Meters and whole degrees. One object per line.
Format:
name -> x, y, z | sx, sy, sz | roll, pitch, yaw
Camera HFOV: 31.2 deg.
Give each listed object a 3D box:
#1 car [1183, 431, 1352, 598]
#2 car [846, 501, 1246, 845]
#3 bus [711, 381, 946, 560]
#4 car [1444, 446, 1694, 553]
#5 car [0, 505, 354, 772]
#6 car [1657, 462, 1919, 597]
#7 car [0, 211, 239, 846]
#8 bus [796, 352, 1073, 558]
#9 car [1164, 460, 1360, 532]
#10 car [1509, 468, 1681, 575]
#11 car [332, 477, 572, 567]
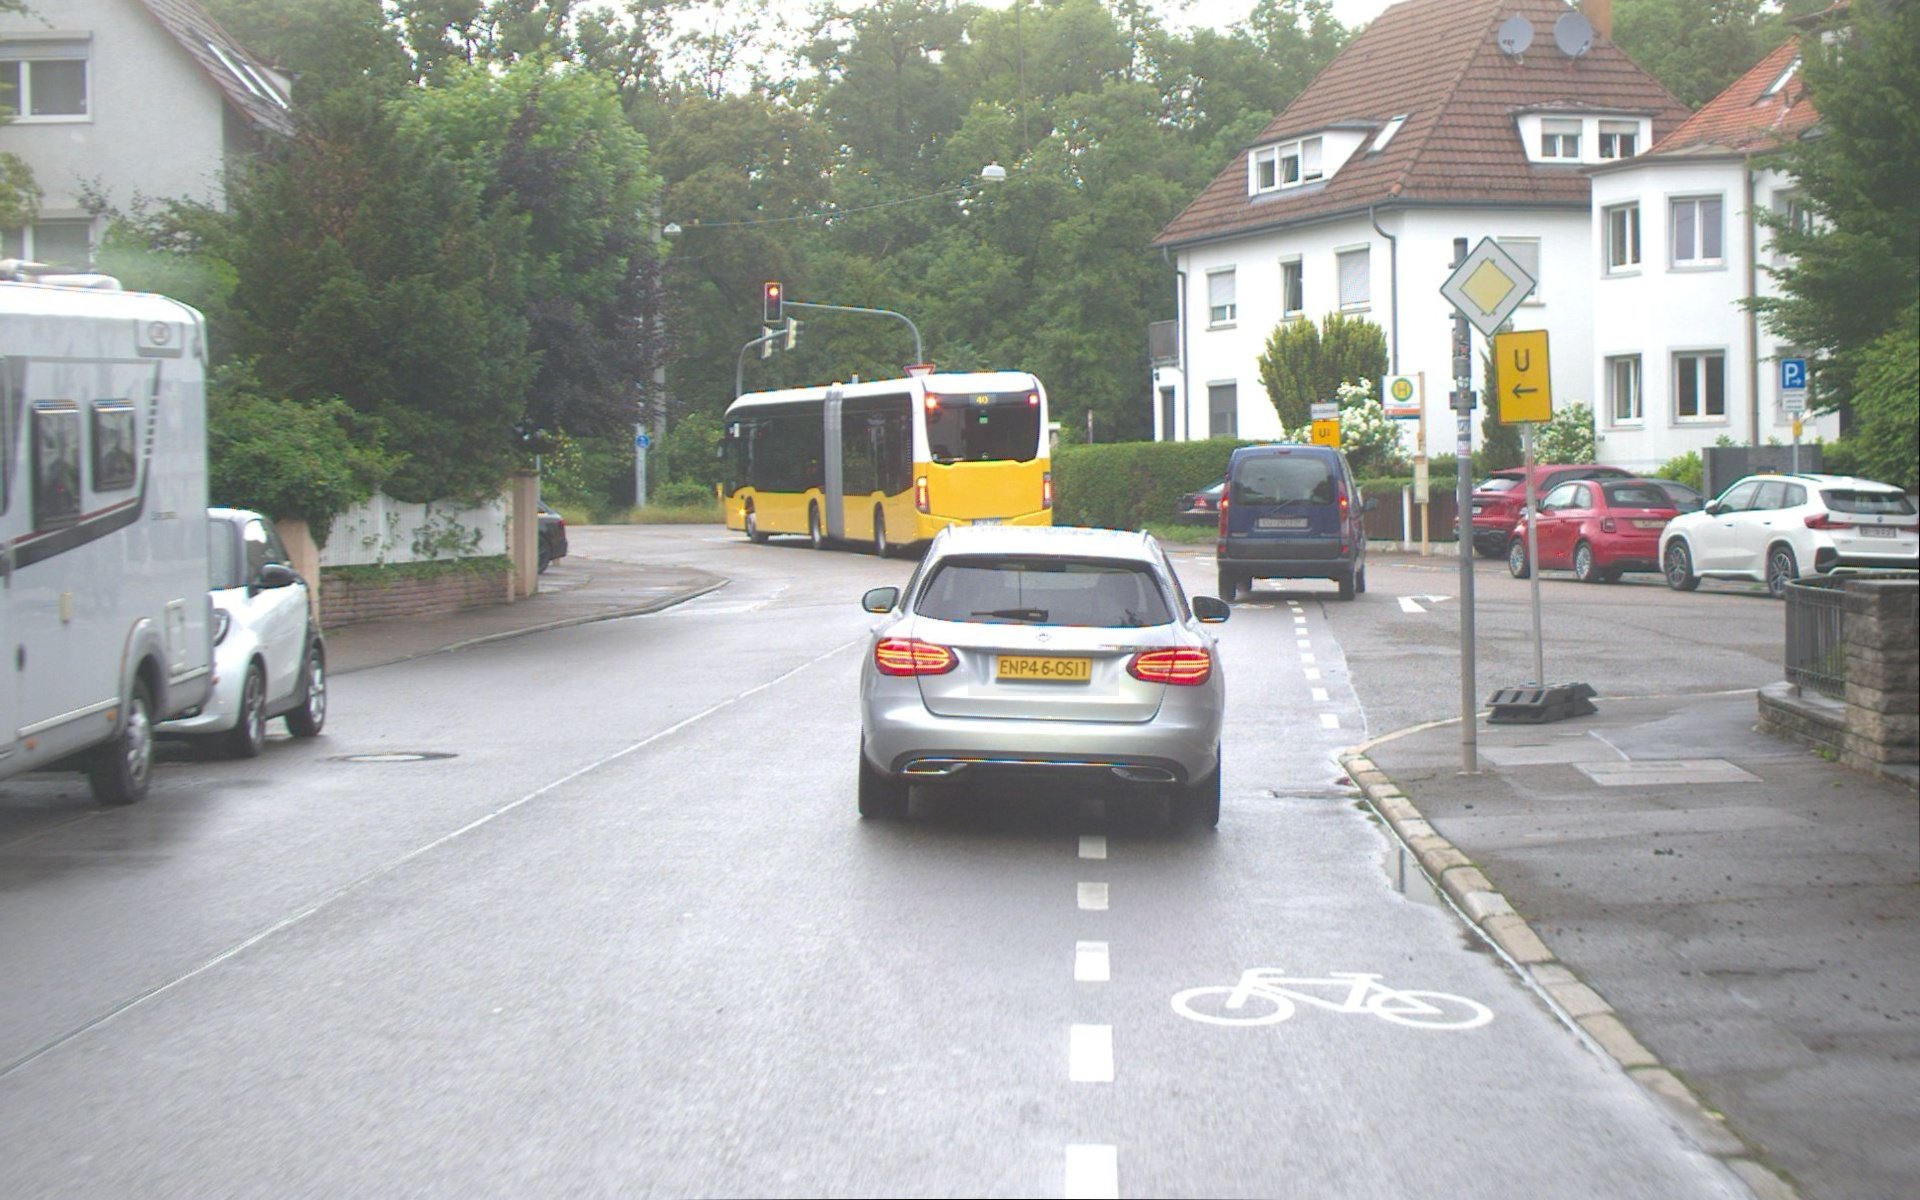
car -> 3.657, -1.010, 41.447 | 1.843, 1.897, 4.000 | 1, 1, 3
car -> 0.443, 0.282, 17.851 | 1.816, 1.551, 4.000 | 1, 2, 1
bus -> -3.034, -2.954, 75.379 | 2.927, 3.638, 10.307 | 0, 3, -15
car -> 10.806, -1.794, 61.174 | 3.986, 1.787, 1.759 | 1, 3, -8
car -> -5.049, 0.182, 21.862 | 1.713, 1.442, 3.255 | 1, 3, 2
car -> 11.020, -0.959, 45.388 | 1.806, 1.603, 4.066 | 0, 3, -17
car -> -5.337, -0.379, 16.084 | 2.391, 2.762, 6.532 | 1, 3, 1
bus -> -0.682, -2.892, 66.370 | 2.927, 3.638, 10.173 | 0, 3, -14
car -> 6.784, -2.339, 77.228 | 3.986, 1.525, 1.760 | 0, 3, -16
car -> 9.296, -1.172, 50.505 | 1.205, 1.446, 3.023 | 0, 3, -17
car -> -8.664, -1.351, 58.845 | 3.986, 1.415, 1.888 | 1, 3, -7
